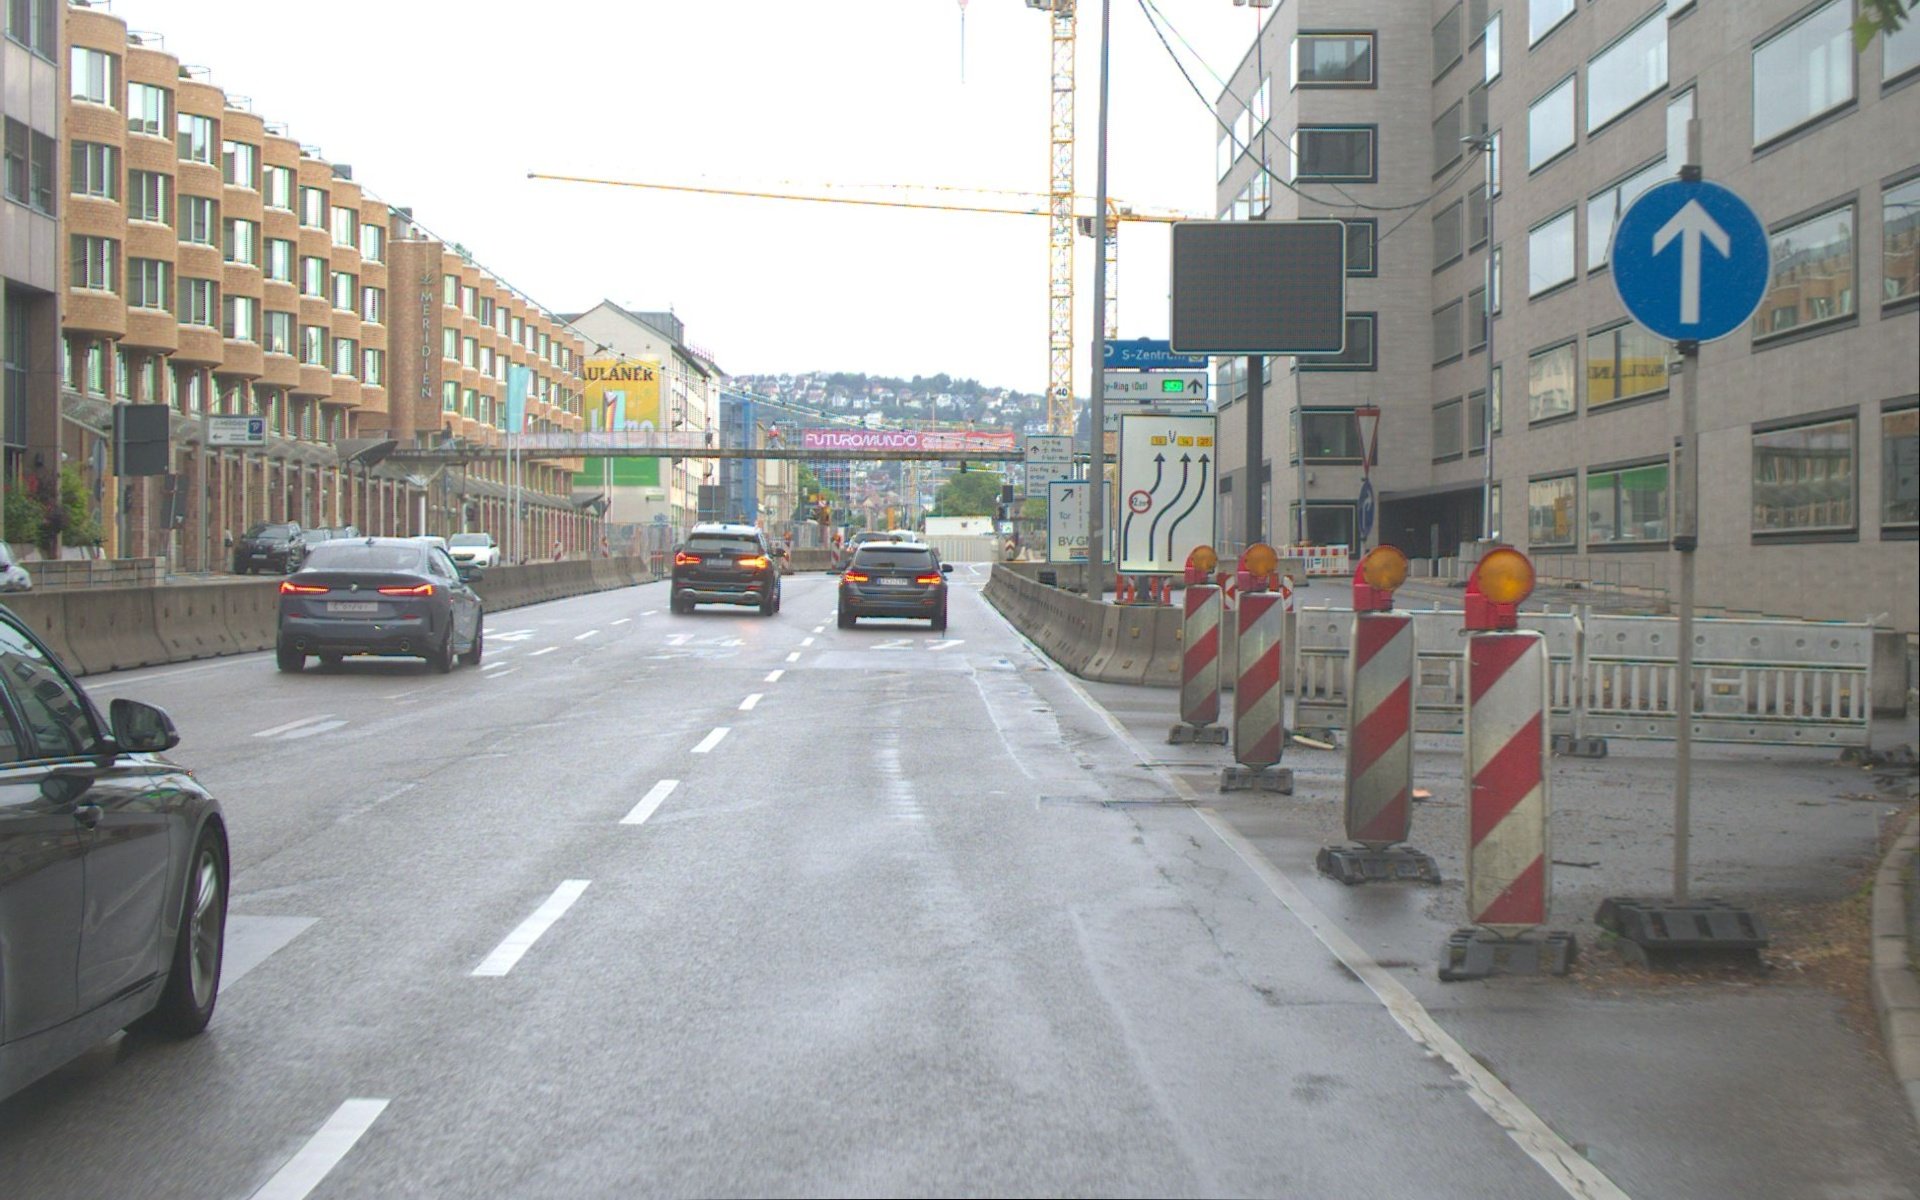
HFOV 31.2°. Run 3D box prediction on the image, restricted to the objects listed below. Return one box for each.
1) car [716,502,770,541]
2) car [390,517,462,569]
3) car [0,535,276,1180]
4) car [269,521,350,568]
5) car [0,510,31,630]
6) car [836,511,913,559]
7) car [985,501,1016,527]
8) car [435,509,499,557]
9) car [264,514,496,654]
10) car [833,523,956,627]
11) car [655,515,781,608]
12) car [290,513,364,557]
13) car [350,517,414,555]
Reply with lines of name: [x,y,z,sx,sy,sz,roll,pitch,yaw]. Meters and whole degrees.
car: [-9.190,-3.314,146.075,1.993,1.614,4.763,0,1,0]
car: [-15.769,-1.692,101.669,1.602,1.437,3.658,0,3,-1]
car: [-3.030,0.542,8.587,1.791,1.421,4.613,1,1,-1]
car: [-23.093,-1.976,122.275,1.993,1.614,4.763,0,1,0]
car: [-13.138,-0.372,43.290,1.860,1.528,4.231,0,1,-2]
car: [-3.058,-2.344,123.596,1.901,1.687,3.998,0,1,12]
car: [2.646,-5.620,225.080,1.900,1.687,4.000,0,1,2]
car: [-17.731,-2.428,123.737,1.820,1.613,4.192,0,3,-2]
car: [-6.199,-0.198,37.177,1.790,1.421,4.385,0,1,0]
car: [-1.057,-0.435,57.632,1.900,1.687,4.000,0,1,1]
car: [-4.469,-0.728,64.011,1.900,1.687,4.000,0,1,2]
car: [-23.806,-2.430,129.365,1.993,1.614,4.318,0,1,0]
car: [-24.553,-2.719,146.116,1.993,1.614,4.318,0,1,0]
